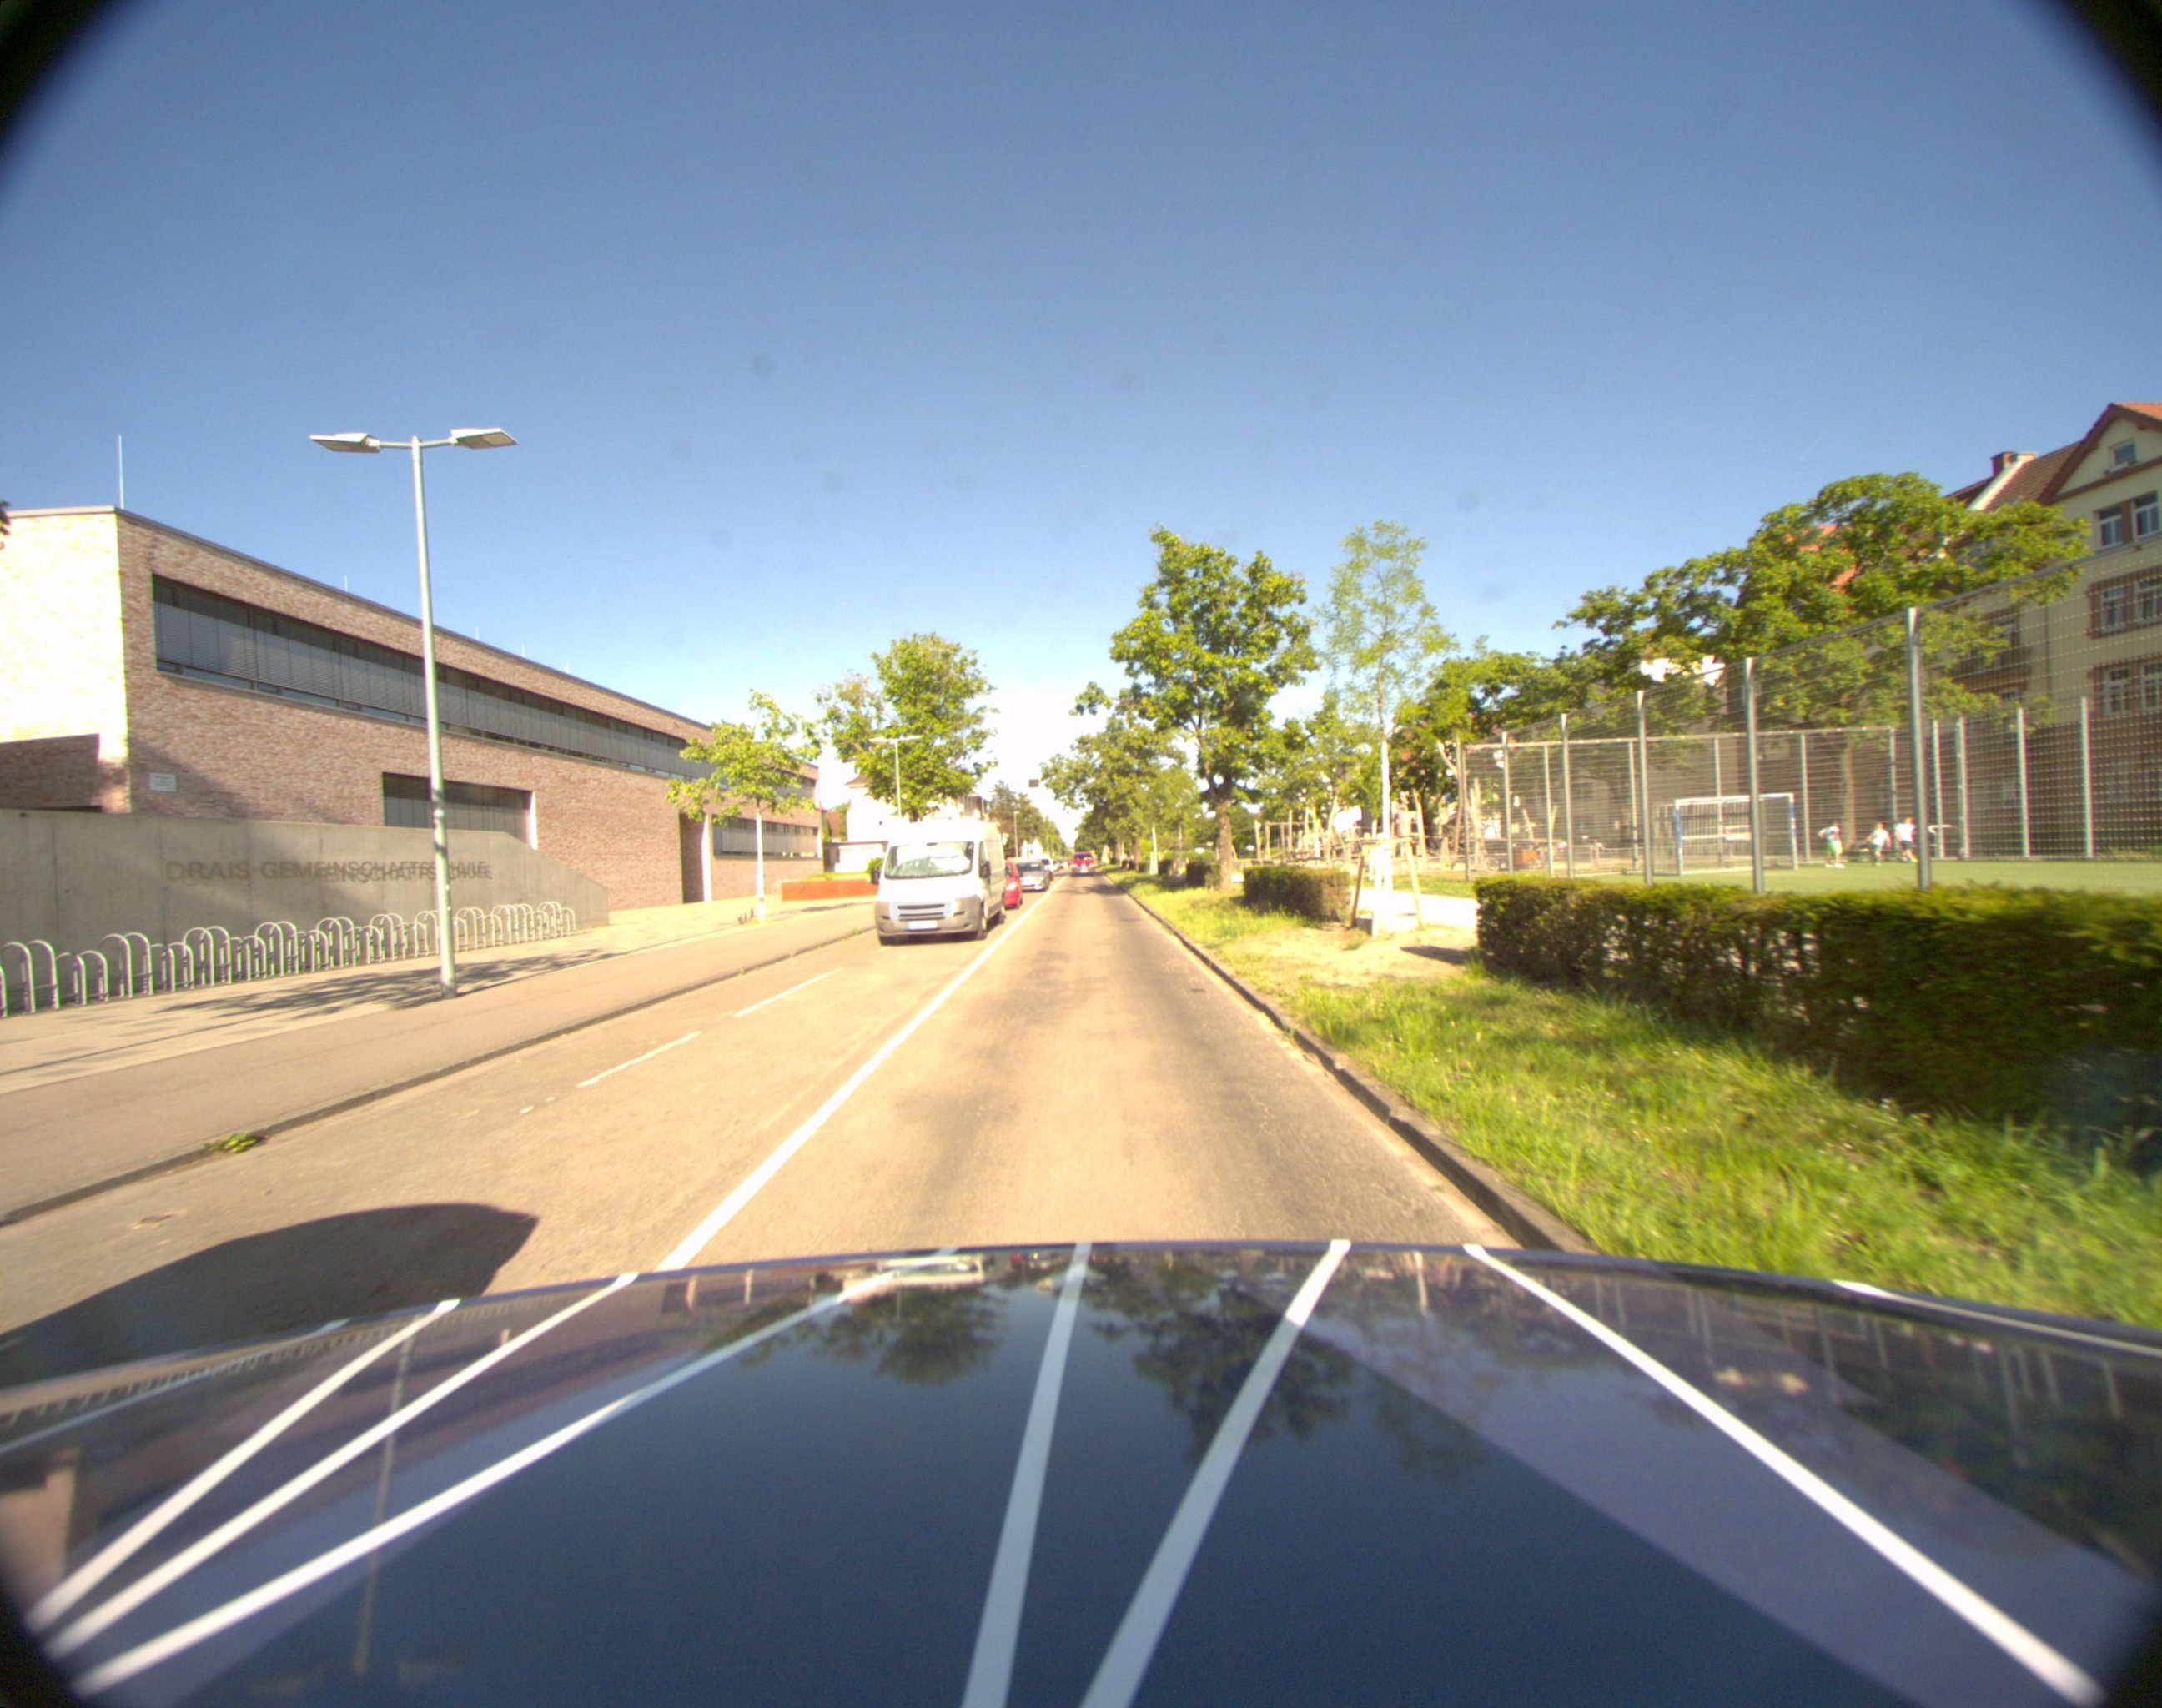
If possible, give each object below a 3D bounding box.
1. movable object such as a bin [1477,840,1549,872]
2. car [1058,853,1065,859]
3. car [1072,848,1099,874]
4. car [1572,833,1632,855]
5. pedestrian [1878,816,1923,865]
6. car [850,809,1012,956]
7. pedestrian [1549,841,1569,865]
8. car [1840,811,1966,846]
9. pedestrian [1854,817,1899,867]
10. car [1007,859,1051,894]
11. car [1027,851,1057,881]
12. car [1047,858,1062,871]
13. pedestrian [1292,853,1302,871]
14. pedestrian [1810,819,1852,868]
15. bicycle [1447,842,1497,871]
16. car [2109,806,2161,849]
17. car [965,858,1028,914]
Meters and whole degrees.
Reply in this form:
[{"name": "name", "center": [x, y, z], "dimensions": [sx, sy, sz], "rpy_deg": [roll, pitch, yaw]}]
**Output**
[{"name": "movable object such as a bin", "center": [17.538, 0.084, 30.869], "dimensions": [2.337, 1.234, 1.056], "rpy_deg": [-2, 0, -4]}, {"name": "car", "center": [-5.756, 0.537, 223.662], "dimensions": [1.799, 1.529, 4.001], "rpy_deg": [-3, -1, 0]}, {"name": "car", "center": [0.392, 0.534, 62.877], "dimensions": [2.092, 2.000, 4.844], "rpy_deg": [-2, 0, 0]}, {"name": "car", "center": [39.825, -0.739, 58.171], "dimensions": [1.799, 1.501, 4.000], "rpy_deg": [-3, 0, 1]}, {"name": "pedestrian", "center": [22.897, -0.373, 21.233], "dimensions": [0.648, 1.310, 0.651], "rpy_deg": [-3, 1, 30]}, {"name": "car", "center": [-2.979, 0.517, 16.561], "dimensions": [2.246, 2.559, 5.432], "rpy_deg": [-3, 0, 1]}, {"name": "pedestrian", "center": [26.992, -0.053, 42.941], "dimensions": [0.650, 1.310, 0.650], "rpy_deg": [-3, 0, -3]}, {"name": "car", "center": [39.931, -1.204, 37.072], "dimensions": [1.799, 1.501, 4.000], "rpy_deg": [-3, 0, 1]}, {"name": "pedestrian", "center": [21.547, -0.329, 20.586], "dimensions": [0.648, 1.310, 0.651], "rpy_deg": [-3, 1, 30]}, {"name": "car", "center": [-2.433, 1.020, 36.461], "dimensions": [1.705, 1.470, 4.173], "rpy_deg": [-3, 0, 1]}, {"name": "car", "center": [-2.684, 0.813, 53.311], "dimensions": [1.812, 1.897, 4.461], "rpy_deg": [-3, 0, -1]}, {"name": "car", "center": [-3.346, 1.268, 94.336], "dimensions": [1.664, 1.456, 4.410], "rpy_deg": [-4, 0, -4]}, {"name": "pedestrian", "center": [16.593, 0.608, 58.380], "dimensions": [0.649, 1.321, 0.651], "rpy_deg": [-3, 1, 18]}, {"name": "pedestrian", "center": [20.723, -0.287, 21.001], "dimensions": [0.648, 1.310, 0.651], "rpy_deg": [-3, 1, 30]}, {"name": "bicycle", "center": [16.649, 0.107, 32.364], "dimensions": [1.799, 1.101, 0.500], "rpy_deg": [-3, 0, -1]}, {"name": "car", "center": [39.489, -0.999, 26.520], "dimensions": [1.799, 1.501, 4.000], "rpy_deg": [-3, 0, 1]}, {"name": "car", "center": [-2.629, 0.963, 24.323], "dimensions": [1.624, 1.579, 3.591], "rpy_deg": [-3, 0, -2]}]
